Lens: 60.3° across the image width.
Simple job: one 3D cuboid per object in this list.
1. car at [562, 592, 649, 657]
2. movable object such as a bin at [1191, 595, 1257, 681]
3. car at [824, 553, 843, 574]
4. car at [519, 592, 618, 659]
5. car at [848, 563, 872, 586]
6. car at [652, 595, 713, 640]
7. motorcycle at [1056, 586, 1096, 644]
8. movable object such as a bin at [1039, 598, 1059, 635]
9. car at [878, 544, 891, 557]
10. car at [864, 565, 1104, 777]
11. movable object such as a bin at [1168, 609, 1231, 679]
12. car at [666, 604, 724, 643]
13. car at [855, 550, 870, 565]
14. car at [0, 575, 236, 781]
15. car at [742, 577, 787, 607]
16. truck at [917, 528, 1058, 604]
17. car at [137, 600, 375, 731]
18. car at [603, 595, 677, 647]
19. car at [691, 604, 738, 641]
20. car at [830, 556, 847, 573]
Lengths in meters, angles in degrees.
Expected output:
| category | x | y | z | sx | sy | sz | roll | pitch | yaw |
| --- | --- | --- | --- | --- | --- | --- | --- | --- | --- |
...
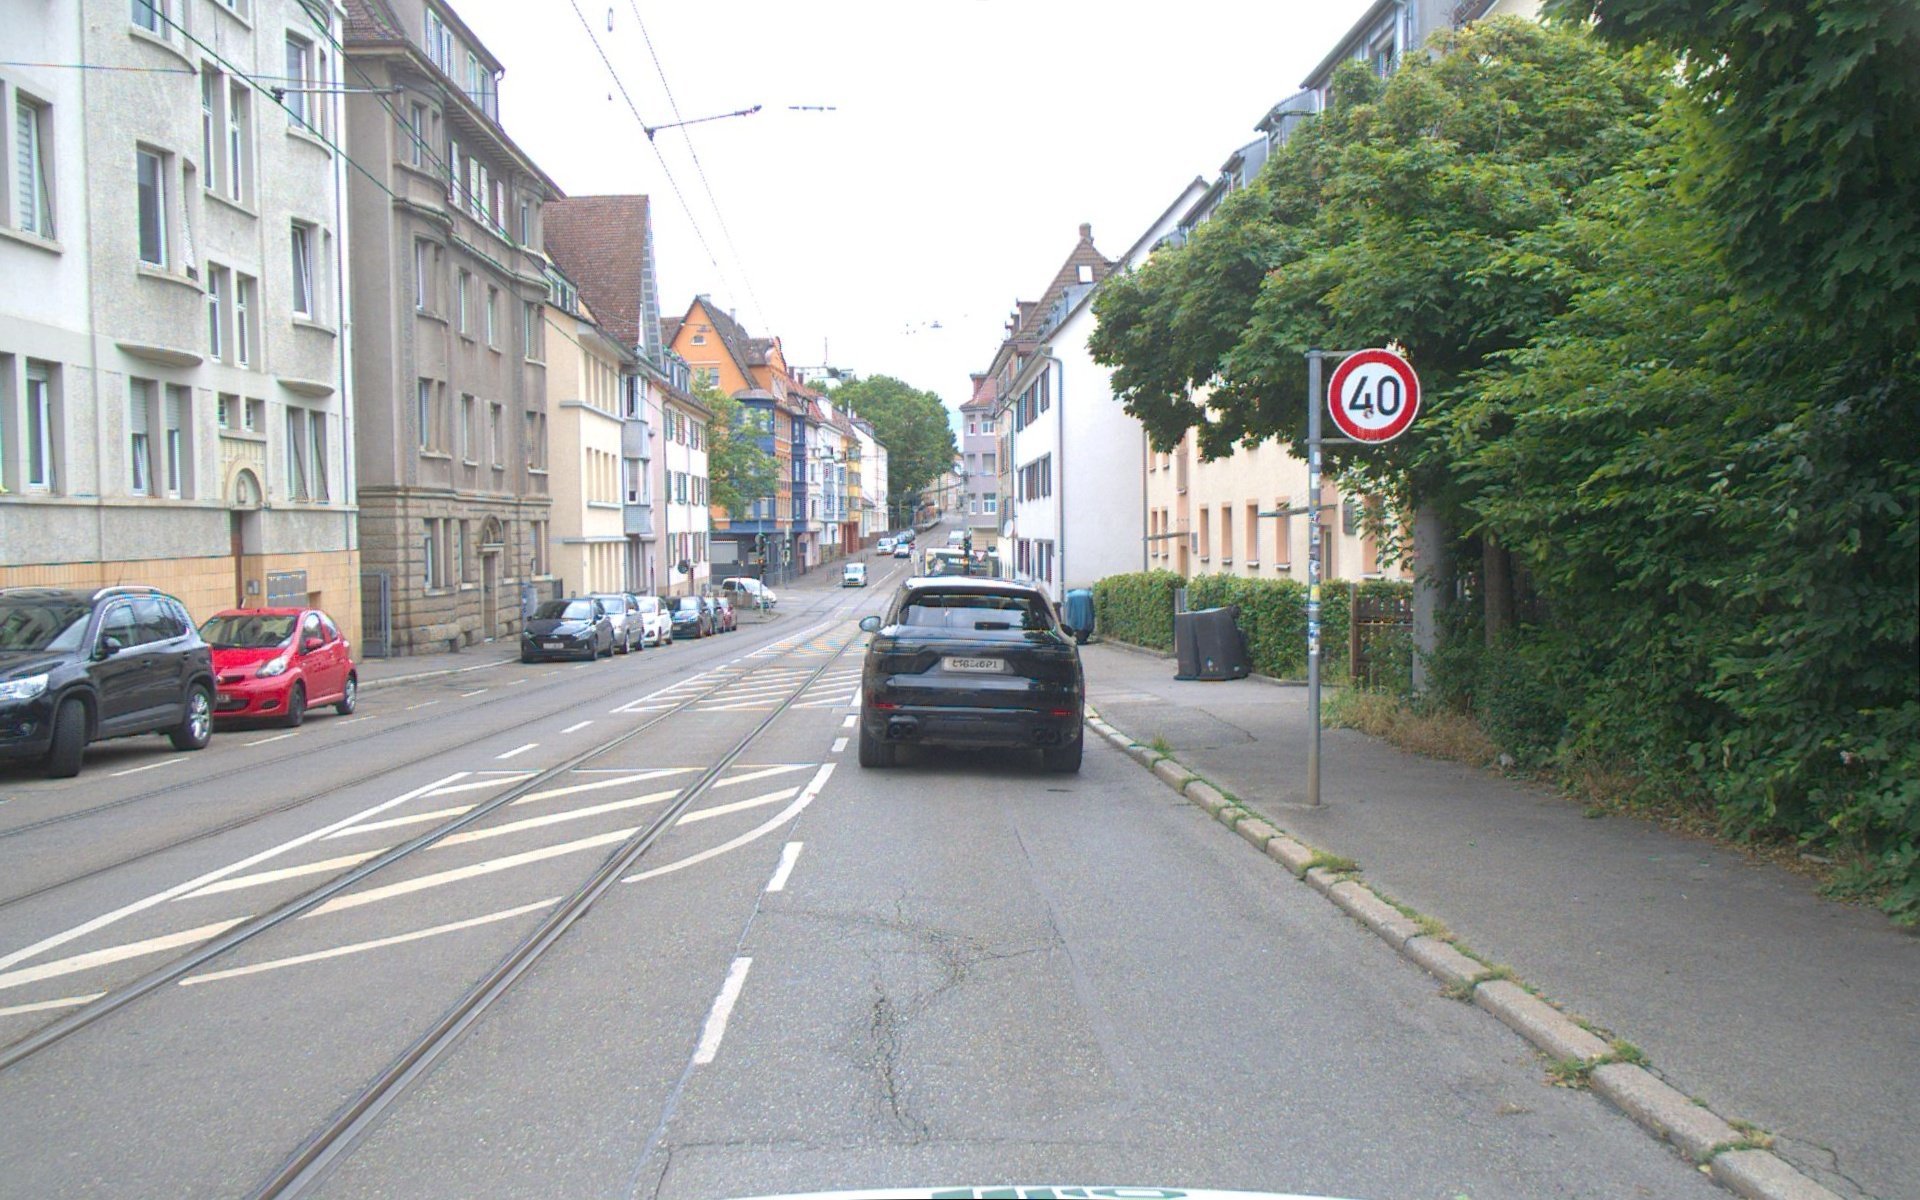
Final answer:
| category | x | y | z | sx | sy | sz | roll | pitch | yaw |
| --- | --- | --- | --- | --- | --- | --- | --- | --- | --- |
| car | -9.534 | 0.642 | 44.776 | 1.588 | 1.632 | 4.348 | -1 | 0 | -3 |
| movable object such as a bin | 3.881 | 0.548 | 24.385 | 0.776 | 1.239 | 0.788 | -1 | 0 | -6 |
| car | -11.012 | -3.130 | 144.163 | 1.366 | 1.752 | 3.358 | -1 | 0 | -1 |
| car | -9.389 | 0.609 | 39.950 | 1.588 | 1.489 | 4.030 | -2 | 0 | -3 |
| car | -8.175 | -2.049 | 135.170 | 1.715 | 1.790 | 4.253 | -1 | 0 | -1 |
| car | -9.841 | 0.615 | 58.958 | 1.588 | 1.499 | 4.553 | -2 | 0 | -3 |
| motorcycle | 3.012 | 0.377 | 43.264 | 0.821 | 1.482 | 2.552 | -1 | 0 | -1 |
| movable object such as a bin | 2.697 | 0.498 | 50.091 | 0.576 | 1.099 | 0.692 | -1 | 0 | 0 |
| car | -8.915 | -5.804 | 194.965 | 1.366 | 1.476 | 3.358 | -1 | 0 | -1 |
| car | 0.129 | 0.571 | 15.522 | 1.953 | 1.705 | 3.998 | -1 | 0 | -2 |
| movable object such as a bin | 3.634 | 0.654 | 25.173 | 0.776 | 1.029 | 0.788 | -1 | 0 | -6 |
| car | -10.303 | 0.895 | 64.405 | 1.701 | 1.435 | 3.999 | -1 | 0 | -2 |
| car | -10.440 | -4.560 | 177.122 | 1.366 | 1.476 | 3.358 | -1 | 0 | -1 |
| car | -8.639 | 0.673 | 15.603 | 1.830 | 1.674 | 4.399 | -2 | 0 | -3 |
| car | -12.488 | -0.498 | 105.576 | 1.893 | 1.850 | 4.192 | -1 | 0 | -20 |
| truck | 1.596 | -1.969 | 99.301 | 8.401 | 4.255 | 2.256 | -1 | -2 | 29 |
| car | -8.915 | 0.781 | 21.272 | 1.588 | 1.489 | 3.743 | -2 | 0 | -3 |
| car | -9.750 | 0.618 | 50.575 | 1.588 | 1.489 | 3.684 | -2 | 0 | -1 |
| car | -10.486 | 0.960 | 70.832 | 1.588 | 1.516 | 4.044 | -2 | 0 | -3 |
| car | -11.512 | -3.345 | 156.905 | 1.366 | 1.476 | 3.358 | -1 | 0 | -1 |
